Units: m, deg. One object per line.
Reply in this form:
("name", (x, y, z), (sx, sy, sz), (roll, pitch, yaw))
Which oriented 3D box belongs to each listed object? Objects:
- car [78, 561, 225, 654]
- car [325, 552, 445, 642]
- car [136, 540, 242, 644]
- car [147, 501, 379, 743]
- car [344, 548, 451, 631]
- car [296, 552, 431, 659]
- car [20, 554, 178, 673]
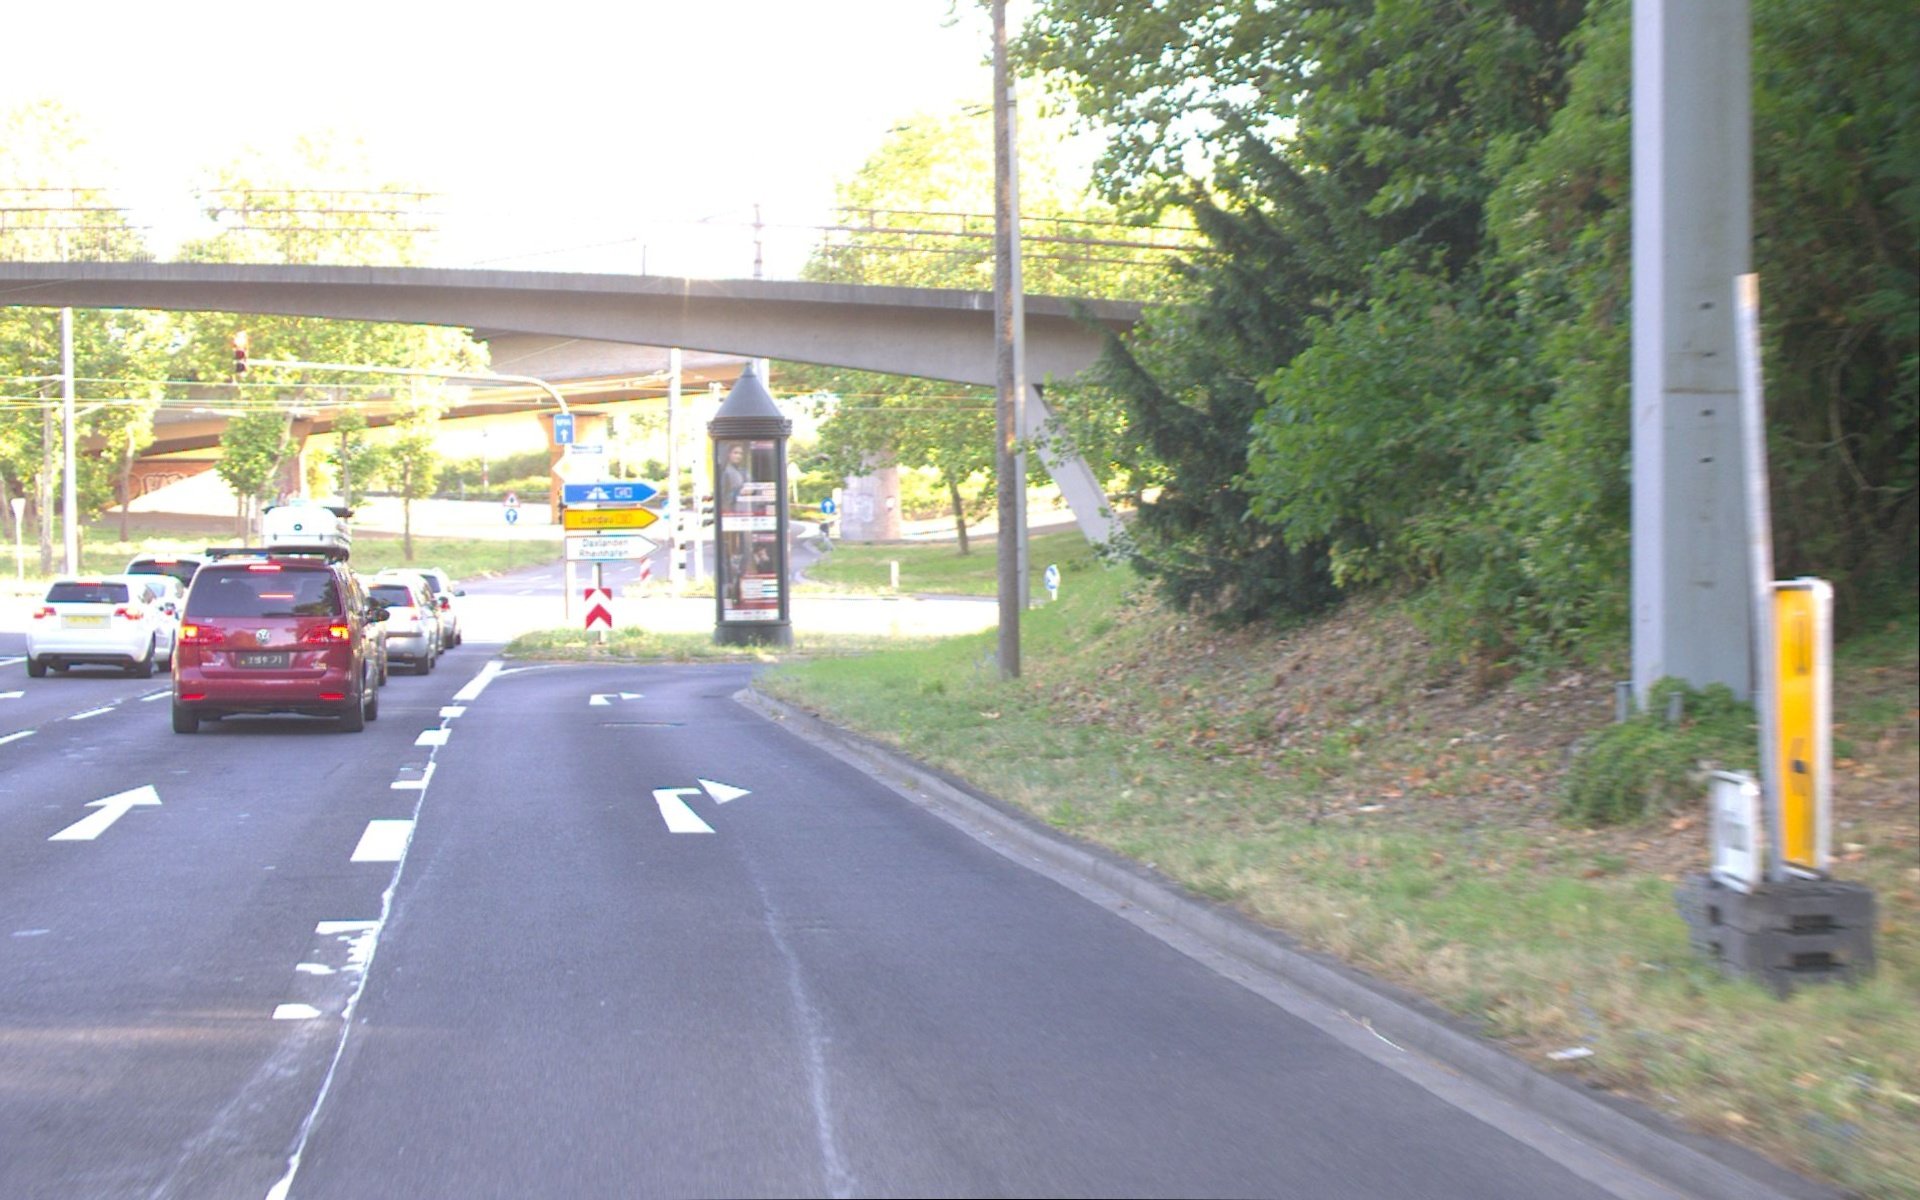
("car", (-13.374, 0.091, 57.073), (1.741, 1.427, 4.412), (1, 1, -5))
("car", (-9.885, -0.080, 59.378), (1.792, 1.378, 4.477), (-2, 2, -7))
("car", (-14.445, -0.187, 64.597), (1.792, 1.786, 4.828), (-3, 2, -12))
("car", (-6.584, 0.153, 32.827), (1.792, 2.098, 4.001), (-2, 1, -7))
("car", (-10.691, -0.218, 65.556), (1.792, 1.437, 4.001), (-2, 2, -7))
("car", (-9.141, 0.056, 52.932), (1.792, 1.476, 4.001), (-2, 2, -7))
("car", (-12.507, 0.153, 50.157), (1.662, 1.560, 4.191), (-2, 2, -7))
